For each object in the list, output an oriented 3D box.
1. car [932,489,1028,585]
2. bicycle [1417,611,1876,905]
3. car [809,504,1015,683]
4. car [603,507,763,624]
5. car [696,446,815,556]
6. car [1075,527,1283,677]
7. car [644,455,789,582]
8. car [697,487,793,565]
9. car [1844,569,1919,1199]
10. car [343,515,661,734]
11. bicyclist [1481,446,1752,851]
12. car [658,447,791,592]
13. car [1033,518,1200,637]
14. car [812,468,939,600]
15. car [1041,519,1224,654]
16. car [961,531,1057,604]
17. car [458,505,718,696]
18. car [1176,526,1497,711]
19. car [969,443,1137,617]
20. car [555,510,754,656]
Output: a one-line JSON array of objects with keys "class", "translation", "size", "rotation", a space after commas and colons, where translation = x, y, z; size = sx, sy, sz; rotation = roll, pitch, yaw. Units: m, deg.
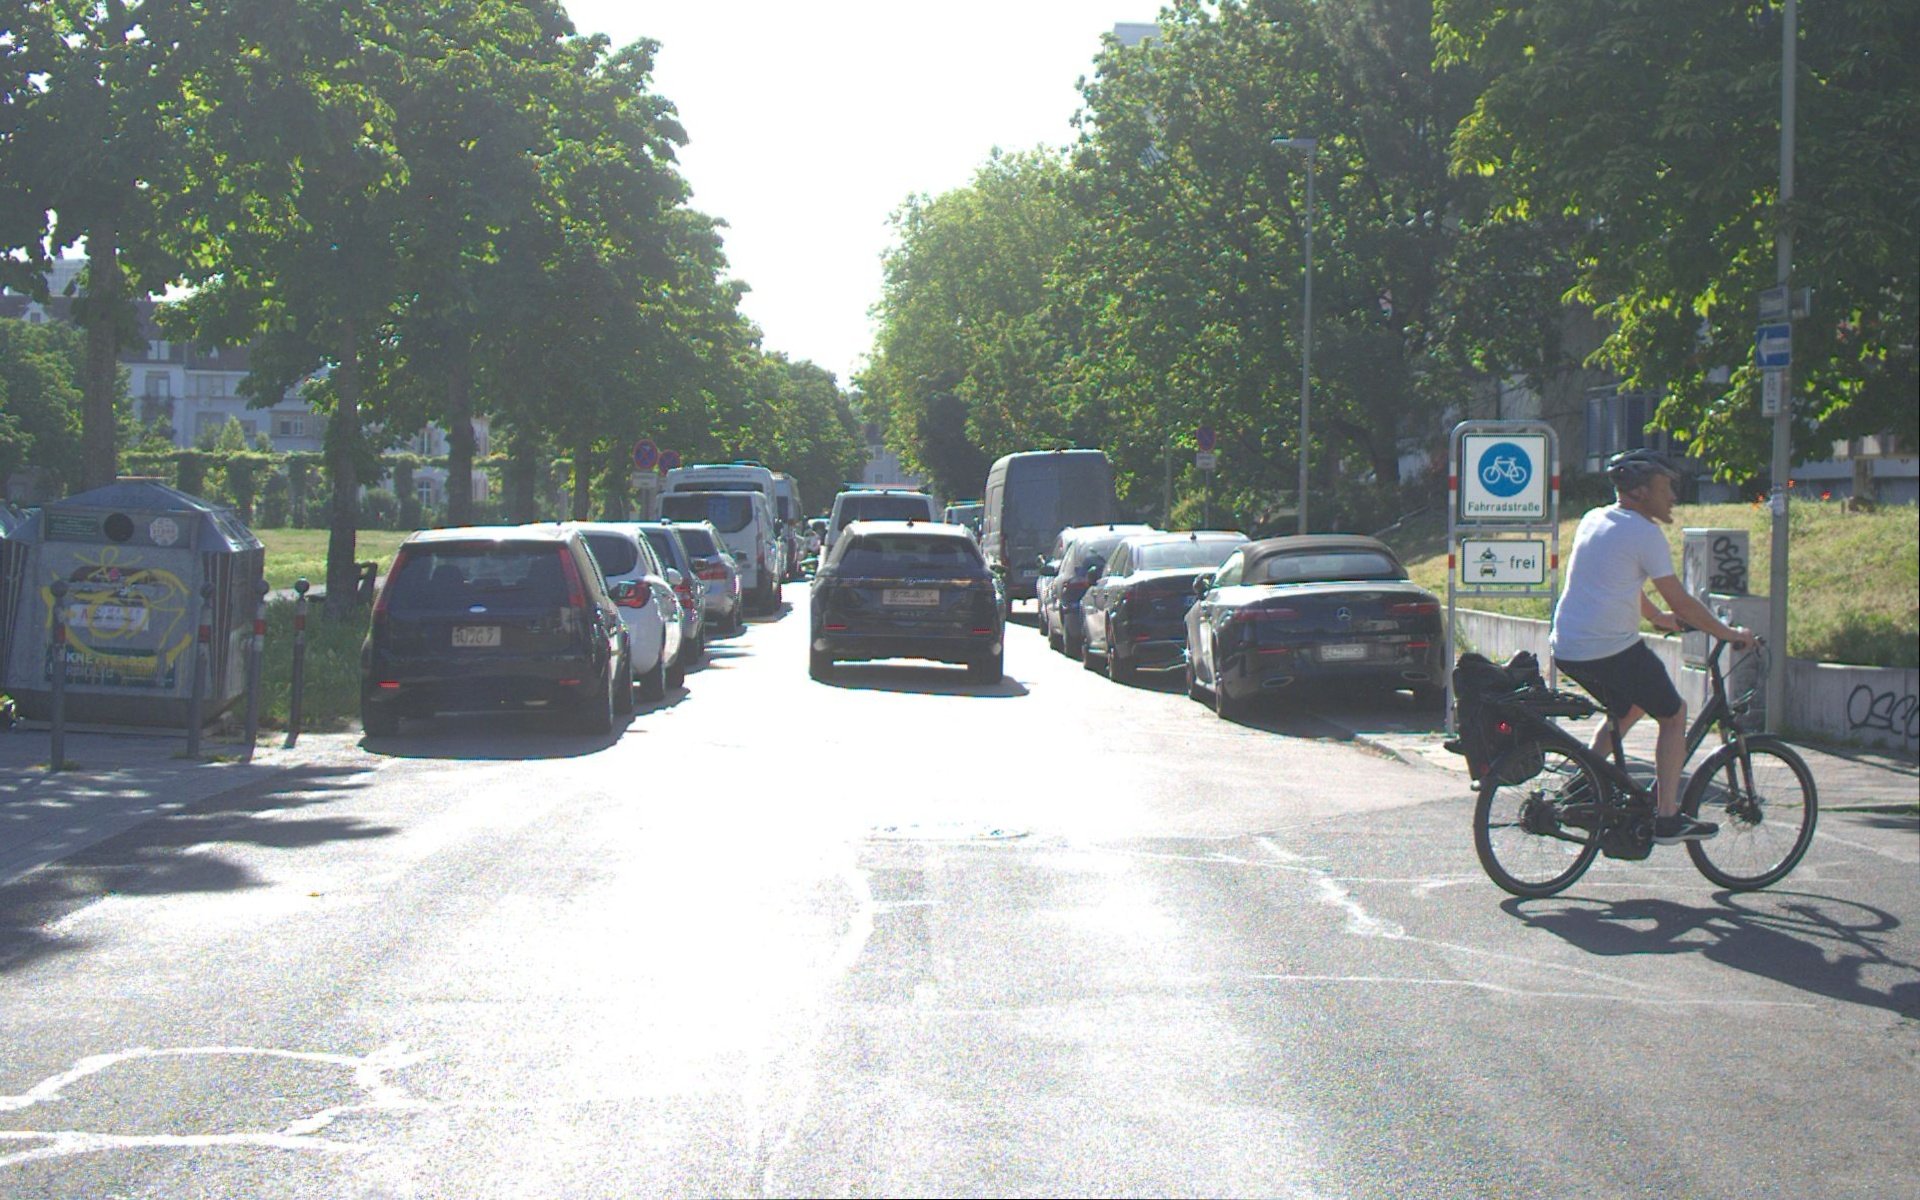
[{"class": "car", "translation": [0.471, -1.591, 85.535], "size": [2.162, 2.284, 5.266], "rotation": [1, 2, -2]}, {"class": "bicycle", "translation": [2.807, 0.621, 14.039], "size": [1.760, 1.123, 0.663], "rotation": [0, 1, -25]}, {"class": "car", "translation": [-0.431, -0.109, 32.516], "size": [1.779, 1.526, 4.000], "rotation": [2, 2, 0]}, {"class": "car", "translation": [-3.734, -0.501, 46.955], "size": [1.833, 1.494, 4.127], "rotation": [1, 1, 0]}, {"class": "car", "translation": [-5.135, -2.507, 87.242], "size": [2.616, 2.636, 6.114], "rotation": [1, 1, 0]}, {"class": "car", "translation": [2.138, -0.024, 34.484], "size": [1.779, 1.366, 4.127], "rotation": [1, 1, 0]}, {"class": "car", "translation": [-3.877, -1.321, 55.405], "size": [2.098, 1.936, 4.127], "rotation": [1, 1, -1]}, {"class": "car", "translation": [-5.070, -1.768, 81.596], "size": [2.010, 1.779, 4.127], "rotation": [1, 1, 0]}, {"class": "car", "translation": [3.281, 0.710, 6.388], "size": [1.958, 1.476, 4.500], "rotation": [-1, 2, -2]}, {"class": "car", "translation": [-3.201, 0.135, 24.718], "size": [1.748, 1.420, 3.916], "rotation": [-1, 1, 0]}, {"class": "bicyclist", "translation": [2.658, 0.182, 13.951], "size": [0.788, 1.590, 0.696], "rotation": [1, 1, -24]}, {"class": "car", "translation": [-4.195, -1.452, 61.811], "size": [2.098, 2.487, 4.127], "rotation": [1, 1, 0]}, {"class": "car", "translation": [2.042, -0.336, 45.915], "size": [1.988, 1.482, 4.127], "rotation": [1, 1, 0]}, {"class": "car", "translation": [-1.305, -1.062, 54.373], "size": [1.894, 1.984, 4.010], "rotation": [-1, 2, 0]}, {"class": "car", "translation": [1.997, -0.196, 40.856], "size": [1.779, 1.482, 4.032], "rotation": [1, 2, -3]}, {"class": "car", "translation": [1.040, -0.737, 74.663], "size": [1.988, 1.482, 4.127], "rotation": [1, 1, 0]}, {"class": "car", "translation": [-3.091, -0.029, 29.239], "size": [1.777, 1.490, 3.875], "rotation": [-1, 1, 0]}, {"class": "car", "translation": [3.020, 0.091, 28.542], "size": [2.125, 1.333, 4.506], "rotation": [-2, 2, 0]}, {"class": "car", "translation": [1.451, -1.161, 56.003], "size": [2.162, 2.680, 5.417], "rotation": [1, 2, -4]}, {"class": "car", "translation": [-3.246, -0.231, 37.165], "size": [1.779, 1.456, 4.127], "rotation": [1, 1, 0]}]
